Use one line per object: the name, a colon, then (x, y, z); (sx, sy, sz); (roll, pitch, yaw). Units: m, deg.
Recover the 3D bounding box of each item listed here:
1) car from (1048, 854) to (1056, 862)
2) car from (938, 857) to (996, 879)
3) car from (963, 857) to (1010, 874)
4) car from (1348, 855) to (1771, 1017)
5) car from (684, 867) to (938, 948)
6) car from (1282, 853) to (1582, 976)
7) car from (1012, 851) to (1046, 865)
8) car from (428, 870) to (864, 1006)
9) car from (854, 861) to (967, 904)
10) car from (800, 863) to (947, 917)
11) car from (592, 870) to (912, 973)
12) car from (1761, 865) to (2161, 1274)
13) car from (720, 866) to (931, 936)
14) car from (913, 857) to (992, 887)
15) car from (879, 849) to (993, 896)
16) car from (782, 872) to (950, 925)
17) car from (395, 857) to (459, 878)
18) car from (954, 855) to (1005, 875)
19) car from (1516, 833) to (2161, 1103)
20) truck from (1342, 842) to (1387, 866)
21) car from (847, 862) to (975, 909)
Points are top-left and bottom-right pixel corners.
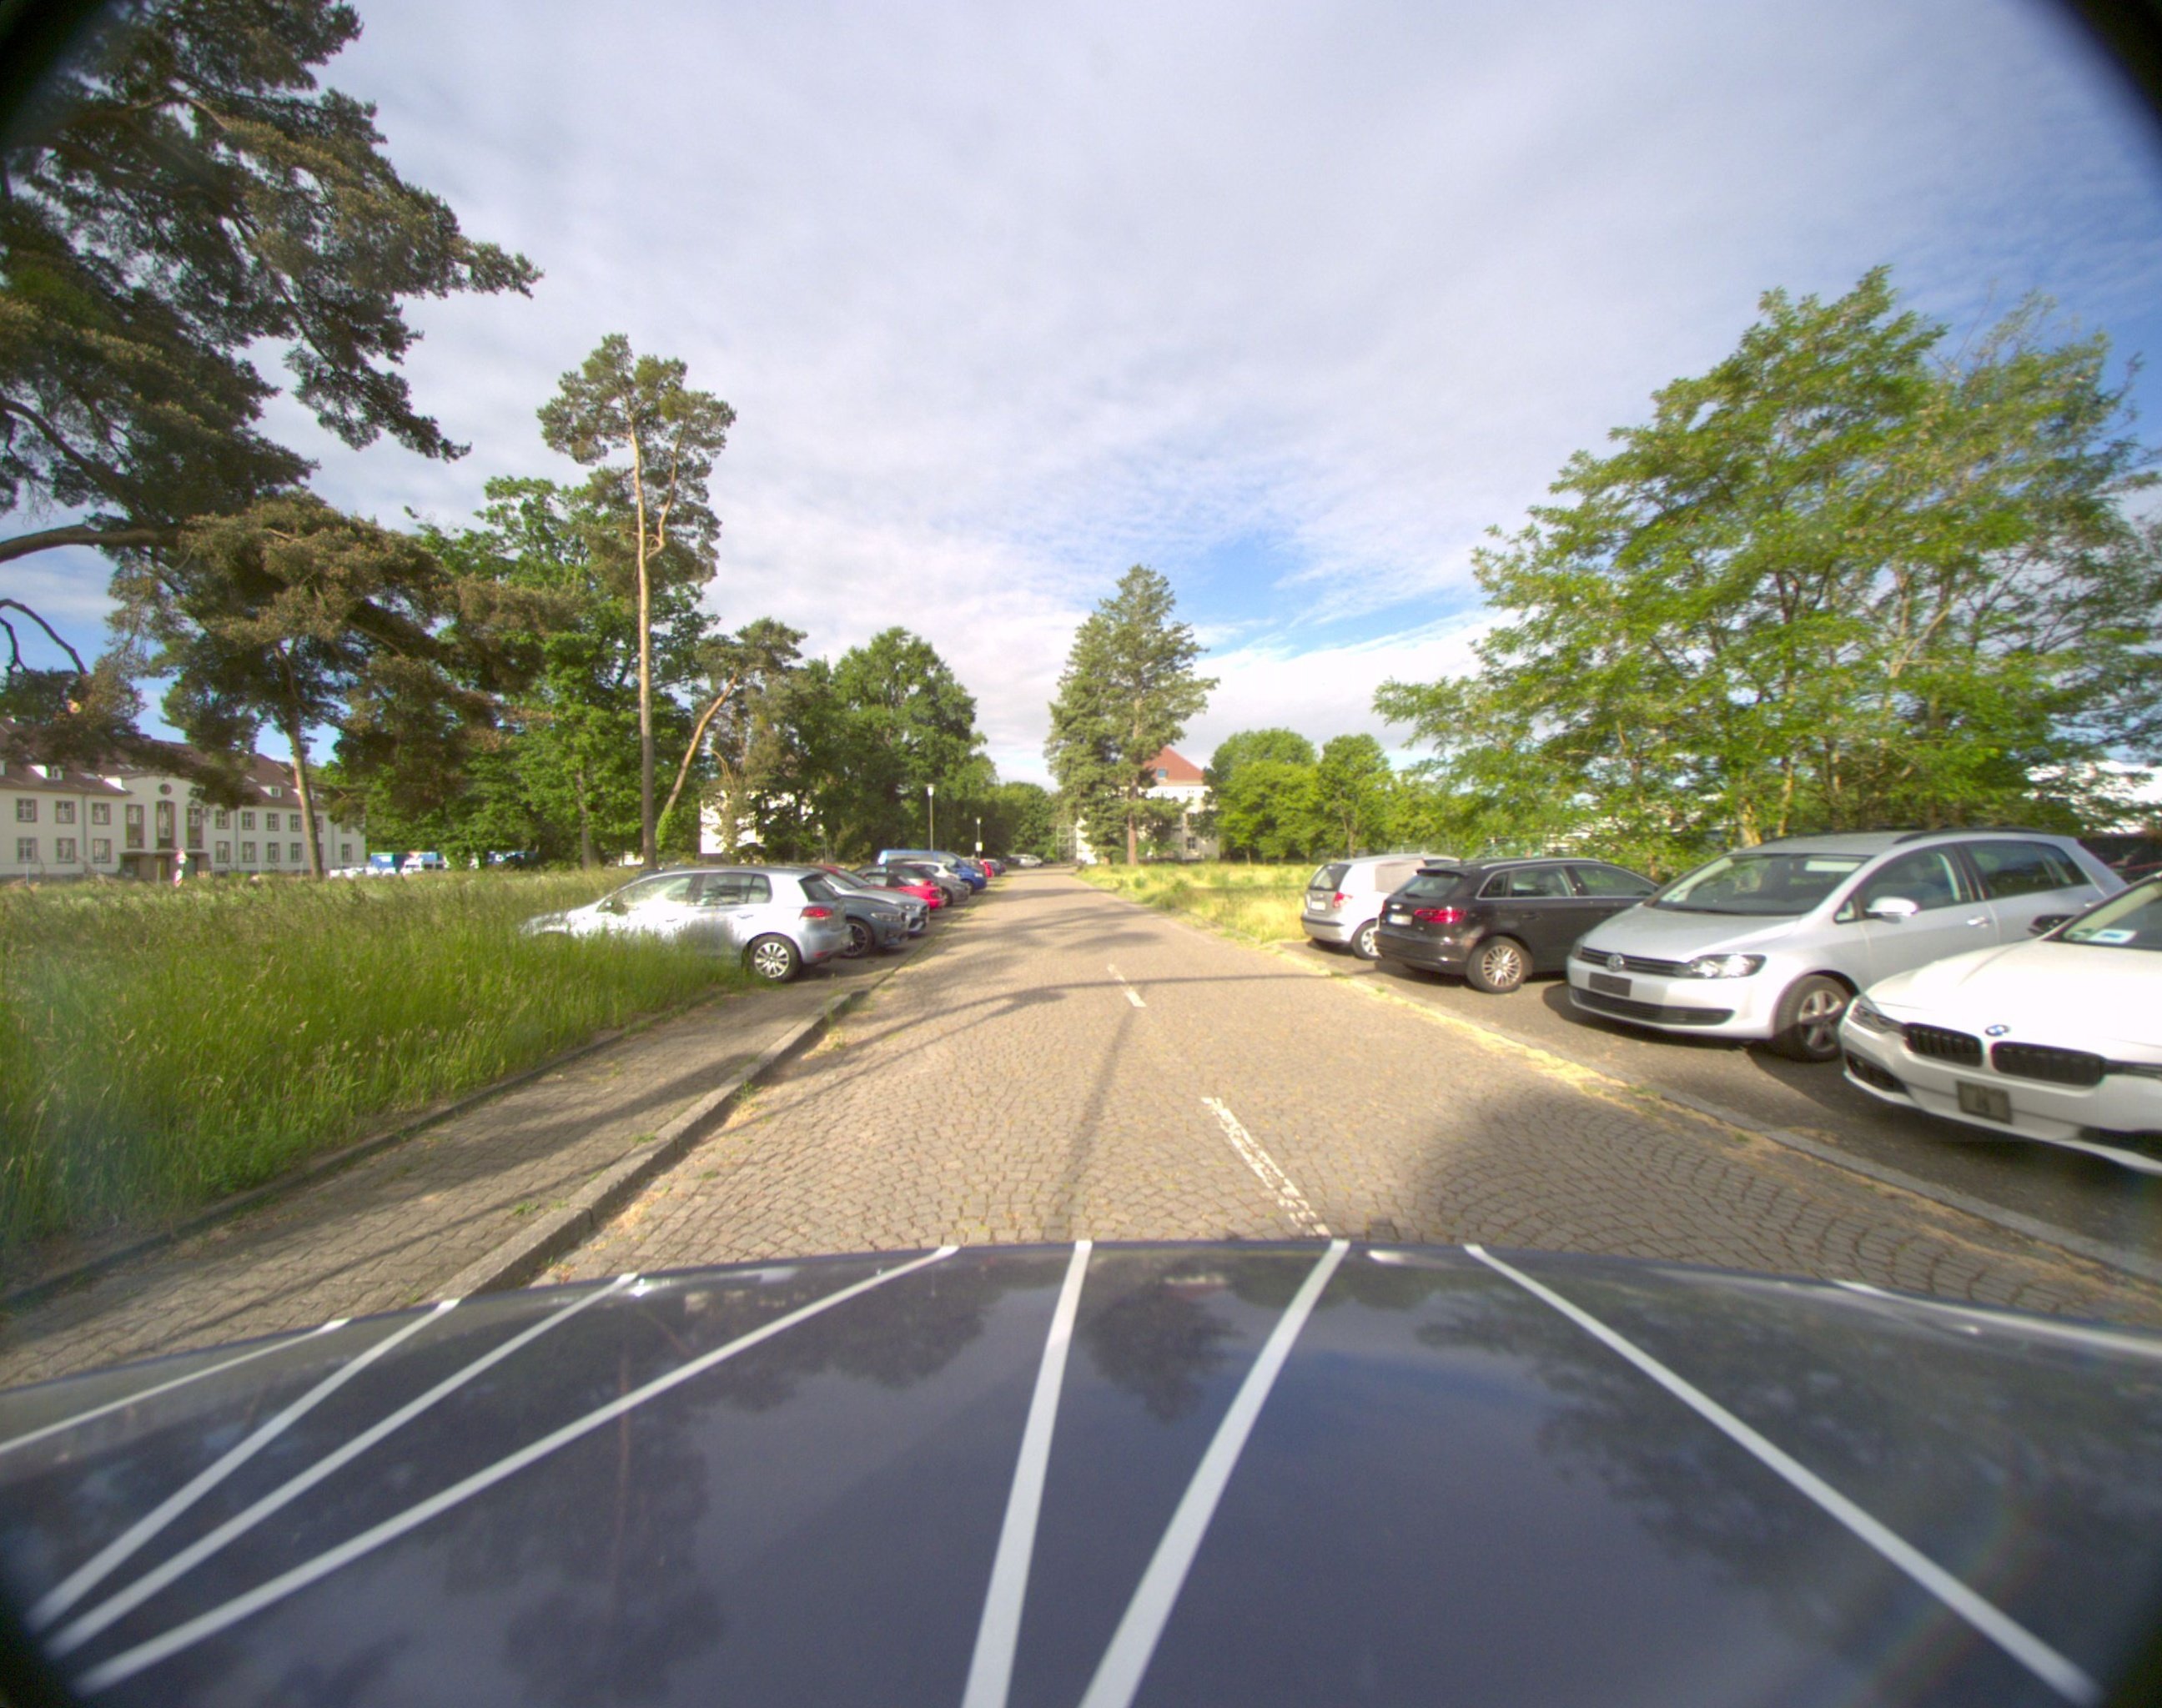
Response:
car: (-7.018, 1.029, 183.454); (1.999, 1.762, 4.107); (-1, 1, -4)
car: (-7.914, 0.974, 52.870); (3.888, 1.464, 1.686); (0, 1, -5)
car: (-8.423, 1.012, 67.849); (4.037, 1.442, 1.782); (0, 1, -2)
car: (5.450, 0.858, 8.981); (3.840, 1.421, 1.858); (-4, 1, -5)
car: (-5.296, 1.028, 15.426); (4.520, 1.465, 1.848); (0, 1, -4)
car: (5.227, 0.837, 11.626); (3.694, 1.465, 1.848); (-4, 1, -6)
car: (-8.011, 0.608, 116.929); (5.080, 2.029, 1.999); (-1, 0, -4)
car: (-5.381, 0.998, 10.004); (4.558, 1.497, 1.932); (0, 1, -6)
car: (-6.295, 1.027, 28.451); (3.885, 1.521, 1.807); (0, 1, -4)
car: (-6.089, 1.028, 22.673); (3.962, 1.486, 1.771); (0, 1, -4)
car: (-5.212, 1.045, 12.648); (4.521, 1.465, 1.893); (0, 1, -8)
car: (6.453, 0.806, 3.803); (4.601, 1.447, 1.902); (-4, 0, -6)
car: (-5.792, 1.043, 17.667); (4.353, 1.465, 1.739); (0, 1, -4)
car: (-7.144, 0.978, 42.640); (4.203, 1.580, 1.877); (0, 1, -5)
car: (-6.361, 0.805, 33.806); (4.747, 1.917, 1.991); (1, 1, -5)
car: (-5.564, 1.141, 20.067); (3.962, 1.253, 1.726); (0, 1, -4)
car: (-73.596, 1.483, 85.641); (2.167, 2.286, 5.960); (-1, 0, -1)
car: (-8.401, 0.914, 63.142); (4.137, 1.560, 1.745); (0, 1, -4)
car: (6.185, 0.751, 6.330); (4.134, 1.590, 1.857); (-4, 1, -8)
truck: (32.308, 0.029, 86.802); (2.418, 2.572, 6.957); (-1, 0, -1)
car: (-5.651, 1.032, 25.632); (3.962, 1.459, 1.830); (0, 1, -4)
